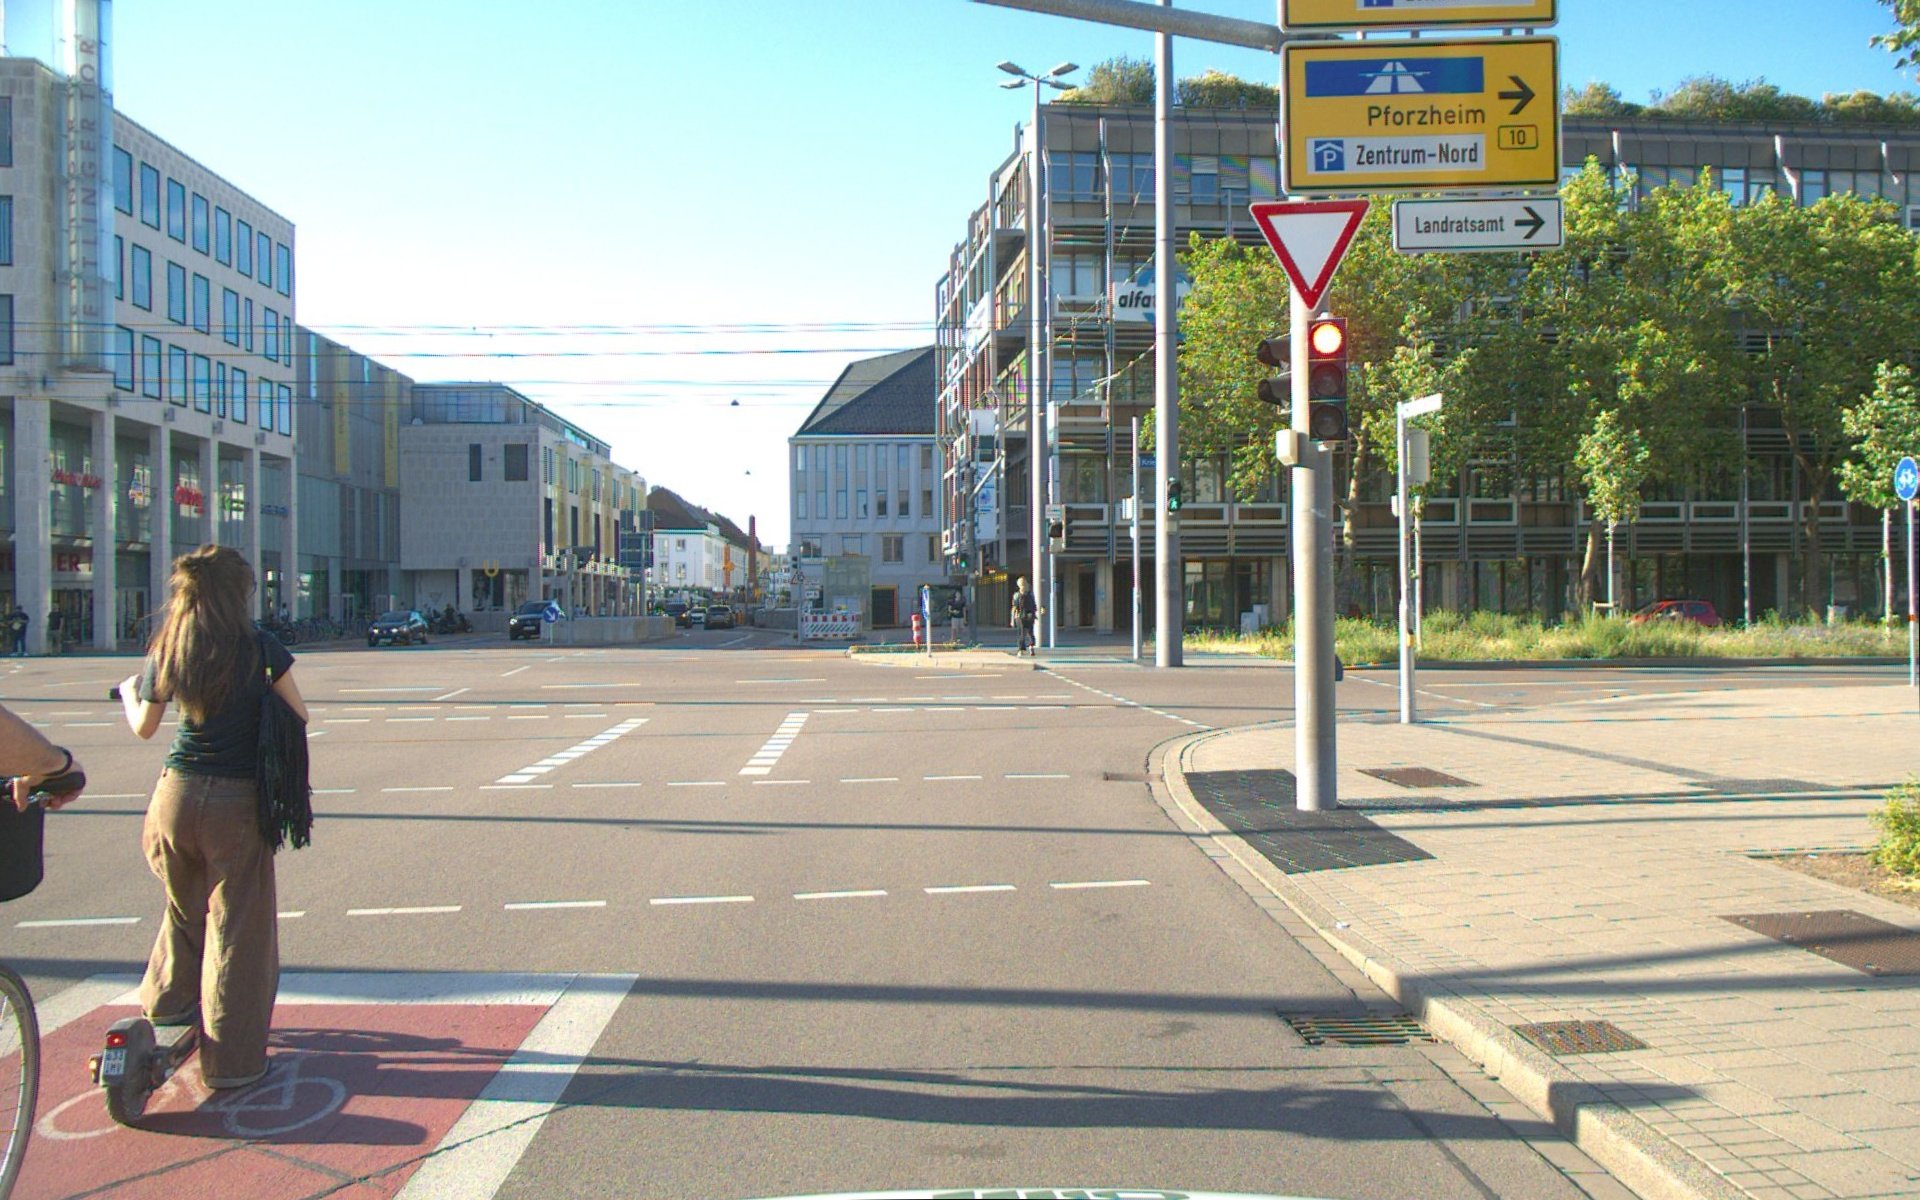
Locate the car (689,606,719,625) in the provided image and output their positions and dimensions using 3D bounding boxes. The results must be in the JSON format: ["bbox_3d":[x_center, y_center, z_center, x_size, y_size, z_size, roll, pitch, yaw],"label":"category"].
[{"bbox_3d":[-23.139,1.426,149.664,2.130,1.722,5.612,0,-1,-2],"label":"car"}]

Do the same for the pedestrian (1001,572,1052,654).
[{"bbox_3d":[1.313,0.246,32.965,0.879,1.576,0.922,-1,1,-7],"label":"pedestrian"}]

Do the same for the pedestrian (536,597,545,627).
[{"bbox_3d":[-29.409,0.848,115.927,0.606,2.049,0.476,1,-1,-15],"label":"pedestrian"}]

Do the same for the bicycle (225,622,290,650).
[{"bbox_3d":[-29.481,1.501,69.442,2.417,1.130,0.684,-1,0,-1],"label":"bicycle"}]

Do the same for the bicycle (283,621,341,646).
[{"bbox_3d":[-29.603,1.522,75.542,2.417,1.130,0.537,-1,0,0],"label":"bicycle"}]

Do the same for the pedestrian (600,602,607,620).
[{"bbox_3d":[-27.932,0.849,129.560,0.479,1.380,0.563,1,-1,-7],"label":"pedestrian"}]

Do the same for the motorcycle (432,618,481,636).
[{"bbox_3d":[-29.607,1.599,97.330,2.617,1.013,0.915,1,0,-8],"label":"motorcycle"}]

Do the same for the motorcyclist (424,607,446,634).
[{"bbox_3d":[-29.807,1.176,93.860,1.017,1.497,0.915,1,0,-8],"label":"motorcyclist"}]

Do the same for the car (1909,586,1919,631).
[{"bbox_3d":[38.422,0.321,62.011,4.764,1.709,1.996,0,1,-10],"label":"car"}]

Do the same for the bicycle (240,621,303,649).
[{"bbox_3d":[-29.460,1.495,70.807,2.416,1.130,0.684,-1,0,1],"label":"bicycle"}]

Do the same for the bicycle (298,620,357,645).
[{"bbox_3d":[-29.745,1.523,77.796,2.417,1.130,0.835,-1,0,0],"label":"bicycle"}]

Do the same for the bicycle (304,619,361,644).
[{"bbox_3d":[-30.344,1.528,79.982,2.417,1.130,0.835,-1,0,0],"label":"bicycle"}]

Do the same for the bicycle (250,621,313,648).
[{"bbox_3d":[-29.380,1.487,71.617,2.417,1.130,0.684,-1,0,0],"label":"bicycle"}]

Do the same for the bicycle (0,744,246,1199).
[{"bbox_3d":[-1.971,0.896,2.923,0.692,1.113,1.799,-1,0,-2],"label":"bicycle"}]

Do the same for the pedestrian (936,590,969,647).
[{"bbox_3d":[-0.254,0.640,57.232,0.990,1.944,1.051,0,0,6],"label":"pedestrian"}]

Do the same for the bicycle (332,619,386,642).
[{"bbox_3d":[-30.304,1.547,83.371,2.417,1.130,0.835,-1,0,0],"label":"bicycle"}]

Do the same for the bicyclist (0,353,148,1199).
[{"bbox_3d":[-1.982,0.430,2.950,0.685,1.698,0.786,-1,0,-3],"label":"bicyclist"}]

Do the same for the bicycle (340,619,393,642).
[{"bbox_3d":[-30.221,1.539,84.212,2.417,1.130,0.660,-1,0,0],"label":"bicycle"}]

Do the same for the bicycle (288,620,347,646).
[{"bbox_3d":[-29.599,1.526,76.189,2.417,1.130,0.684,-1,0,0],"label":"bicycle"}]

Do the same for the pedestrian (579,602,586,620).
[{"bbox_3d":[-28.810,0.819,126.209,0.479,1.380,0.563,1,-1,-7],"label":"pedestrian"}]

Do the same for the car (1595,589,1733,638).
[{"bbox_3d":[23.609,0.467,55.539,3.793,1.512,1.843,-1,-3,-6],"label":"car"}]

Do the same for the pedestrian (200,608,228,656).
[{"bbox_3d":[-27.751,1.192,61.534,0.736,1.770,0.756,0,0,-3],"label":"pedestrian"}]

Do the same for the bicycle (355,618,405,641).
[{"bbox_3d":[-30.426,1.553,86.789,2.417,1.130,0.660,-1,0,0],"label":"bicycle"}]

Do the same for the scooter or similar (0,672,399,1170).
[{"bbox_3d":[-2.211,0.848,4.955,0.629,1.196,1.482,1,0,-4],"label":"scooter or similar"}]

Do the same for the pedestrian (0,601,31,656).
[{"bbox_3d":[-35.534,1.052,62.075,0.898,2.049,1.020,0,0,-13],"label":"pedestrian"}]

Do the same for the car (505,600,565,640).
[{"bbox_3d":[-18.922,0.855,73.791,1.900,1.707,4.289,-1,0,-5],"label":"car"}]

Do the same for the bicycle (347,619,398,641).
[{"bbox_3d":[-30.404,1.560,85.645,2.417,1.130,0.631,-1,0,0],"label":"bicycle"}]

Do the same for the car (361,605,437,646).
[{"bbox_3d":[-23.578,1.043,69.657,1.899,1.608,4.292,-1,0,-3],"label":"car"}]

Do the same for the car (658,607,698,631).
[{"bbox_3d":[-21.357,1.430,125.439,2.130,1.722,5.485,0,-1,-1],"label":"car"}]

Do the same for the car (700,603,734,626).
[{"bbox_3d":[-15.832,0.978,108.102,1.898,1.475,4.258,0,-1,-4],"label":"car"}]

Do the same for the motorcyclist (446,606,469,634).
[{"bbox_3d":[-29.577,1.166,97.349,1.115,1.602,0.915,1,-1,-8],"label":"motorcyclist"}]

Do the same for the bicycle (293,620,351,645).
[{"bbox_3d":[-29.674,1.520,76.964,2.417,1.130,0.684,-1,0,0],"label":"bicycle"}]

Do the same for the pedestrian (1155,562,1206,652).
[{"bbox_3d":[4.454,0.132,33.397,0.839,1.774,0.738,-1,1,-9],"label":"pedestrian"}]

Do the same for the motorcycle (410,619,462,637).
[{"bbox_3d":[-29.734,1.582,93.879,2.617,1.013,0.915,1,0,-8],"label":"motorcycle"}]

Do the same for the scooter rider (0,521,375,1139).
[{"bbox_3d":[-2.184,0.587,4.788,0.629,1.571,1.116,1,0,-4],"label":"scooter rider"}]

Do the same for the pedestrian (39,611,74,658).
[{"bbox_3d":[-31.271,1.200,57.260,0.936,1.598,0.830,0,0,-39],"label":"pedestrian"}]

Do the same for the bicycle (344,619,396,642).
[{"bbox_3d":[-30.301,1.549,84.957,2.417,1.130,0.660,-1,0,0],"label":"bicycle"}]

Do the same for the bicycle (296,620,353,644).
[{"bbox_3d":[-30.231,1.524,78.733,2.417,1.130,0.684,-1,0,0],"label":"bicycle"}]

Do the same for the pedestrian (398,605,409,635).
[{"bbox_3d":[-37.916,1.366,112.671,0.606,2.049,0.476,1,-1,-15],"label":"pedestrian"}]

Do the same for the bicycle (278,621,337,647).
[{"bbox_3d":[-29.571,1.520,74.936,2.417,1.130,0.593,-1,0,0],"label":"bicycle"}]

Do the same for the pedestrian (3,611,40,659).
[{"bbox_3d":[-32.895,1.217,57.991,0.998,1.680,0.935,0,0,-39],"label":"pedestrian"}]

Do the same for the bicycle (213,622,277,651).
[{"bbox_3d":[-29.435,1.507,68.096,2.354,1.132,0.658,-1,0,-1],"label":"bicycle"}]

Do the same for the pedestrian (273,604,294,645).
[{"bbox_3d":[-33.392,1.203,81.589,0.933,2.017,1.000,0,0,-25],"label":"pedestrian"}]
